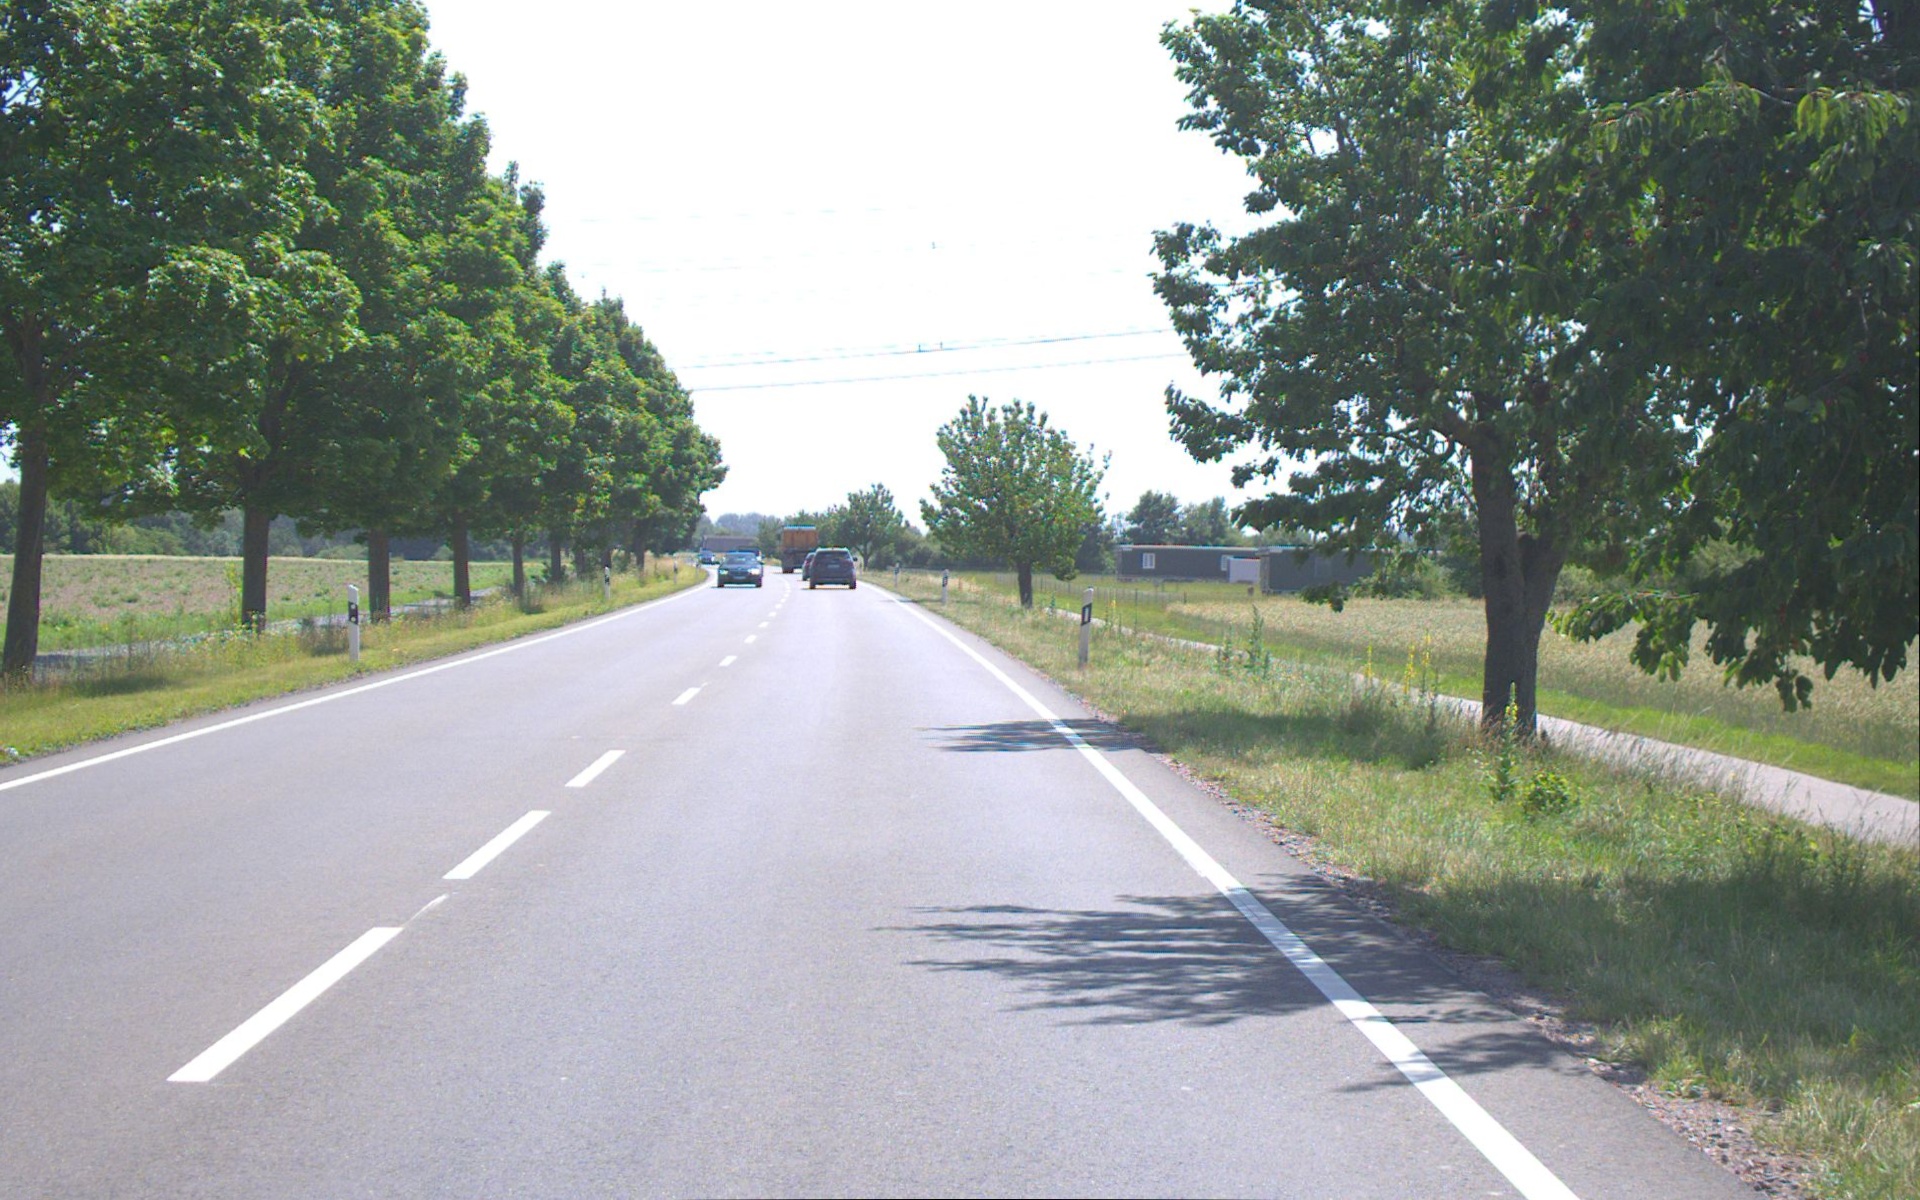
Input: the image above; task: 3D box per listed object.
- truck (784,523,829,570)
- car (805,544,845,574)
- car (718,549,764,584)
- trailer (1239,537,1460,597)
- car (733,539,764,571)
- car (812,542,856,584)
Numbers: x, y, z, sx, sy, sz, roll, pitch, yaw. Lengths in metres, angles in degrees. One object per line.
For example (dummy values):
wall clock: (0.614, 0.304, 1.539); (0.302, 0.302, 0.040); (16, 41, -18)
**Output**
truck: (-10.561, -3.689, 235.979); (2.370, 3.129, 8.749); (1, 1, -6)
car: (-7.037, -2.130, 178.425); (1.850, 1.517, 4.001); (0, 1, -6)
car: (-9.300, -1.420, 145.947); (1.822, 1.415, 4.589); (0, 1, -2)
trailer: (24.779, -2.132, 218.858); (13.507, 3.463, 3.277); (1, 1, -5)
car: (-12.401, -2.643, 201.729); (1.681, 1.842, 4.001); (1, 1, -2)
car: (-5.156, -1.520, 140.173); (1.714, 1.688, 3.989); (0, 1, -3)
